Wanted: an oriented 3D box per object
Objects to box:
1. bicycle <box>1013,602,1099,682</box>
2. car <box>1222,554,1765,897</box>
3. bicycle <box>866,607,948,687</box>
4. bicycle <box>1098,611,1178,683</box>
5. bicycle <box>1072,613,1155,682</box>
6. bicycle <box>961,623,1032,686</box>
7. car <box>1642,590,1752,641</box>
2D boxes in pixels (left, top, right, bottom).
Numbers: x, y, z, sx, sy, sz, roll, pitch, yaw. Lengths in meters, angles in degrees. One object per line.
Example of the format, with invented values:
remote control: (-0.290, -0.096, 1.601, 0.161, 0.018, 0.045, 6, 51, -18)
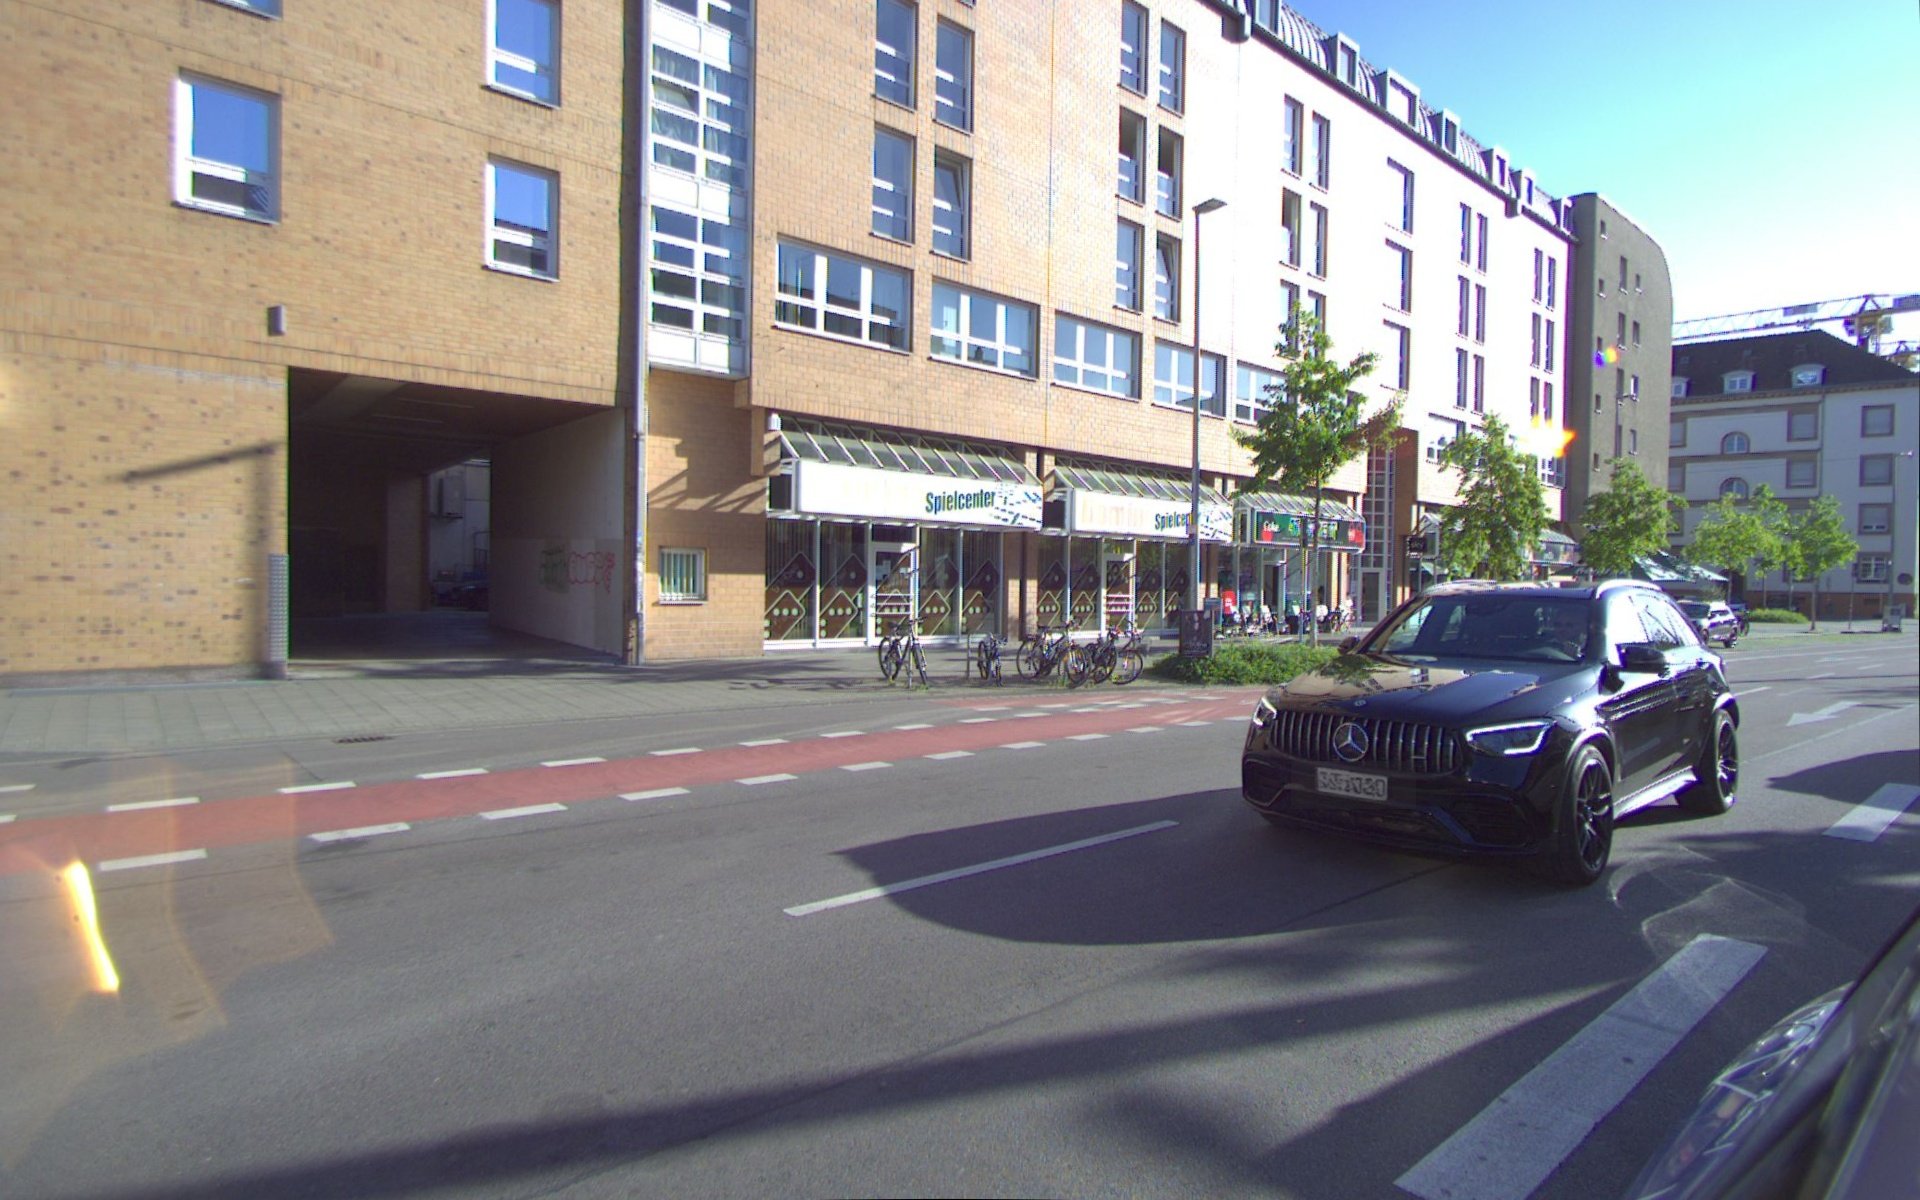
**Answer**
bicycle: (1.596, 0.674, 17.165, 0.553, 1.177, 1.843, 0, 3, -26)
car: (3.836, 0.593, 6.903, 4.375, 1.615, 1.806, 0, -1, -41)
bicycle: (-0.877, 0.716, 16.180, 0.423, 1.089, 1.776, -1, 4, -35)
bicycle: (3.105, 0.794, 17.825, 0.343, 1.069, 1.843, 0, 3, -26)
bicycle: (2.643, 0.803, 17.653, 0.440, 0.997, 1.843, 0, 3, -26)
bicycle: (0.568, 0.870, 16.621, 0.359, 0.842, 1.779, 0, 3, -26)
car: (25.783, 0.513, 35.397, 3.921, 1.660, 1.782, 0, 1, -33)
